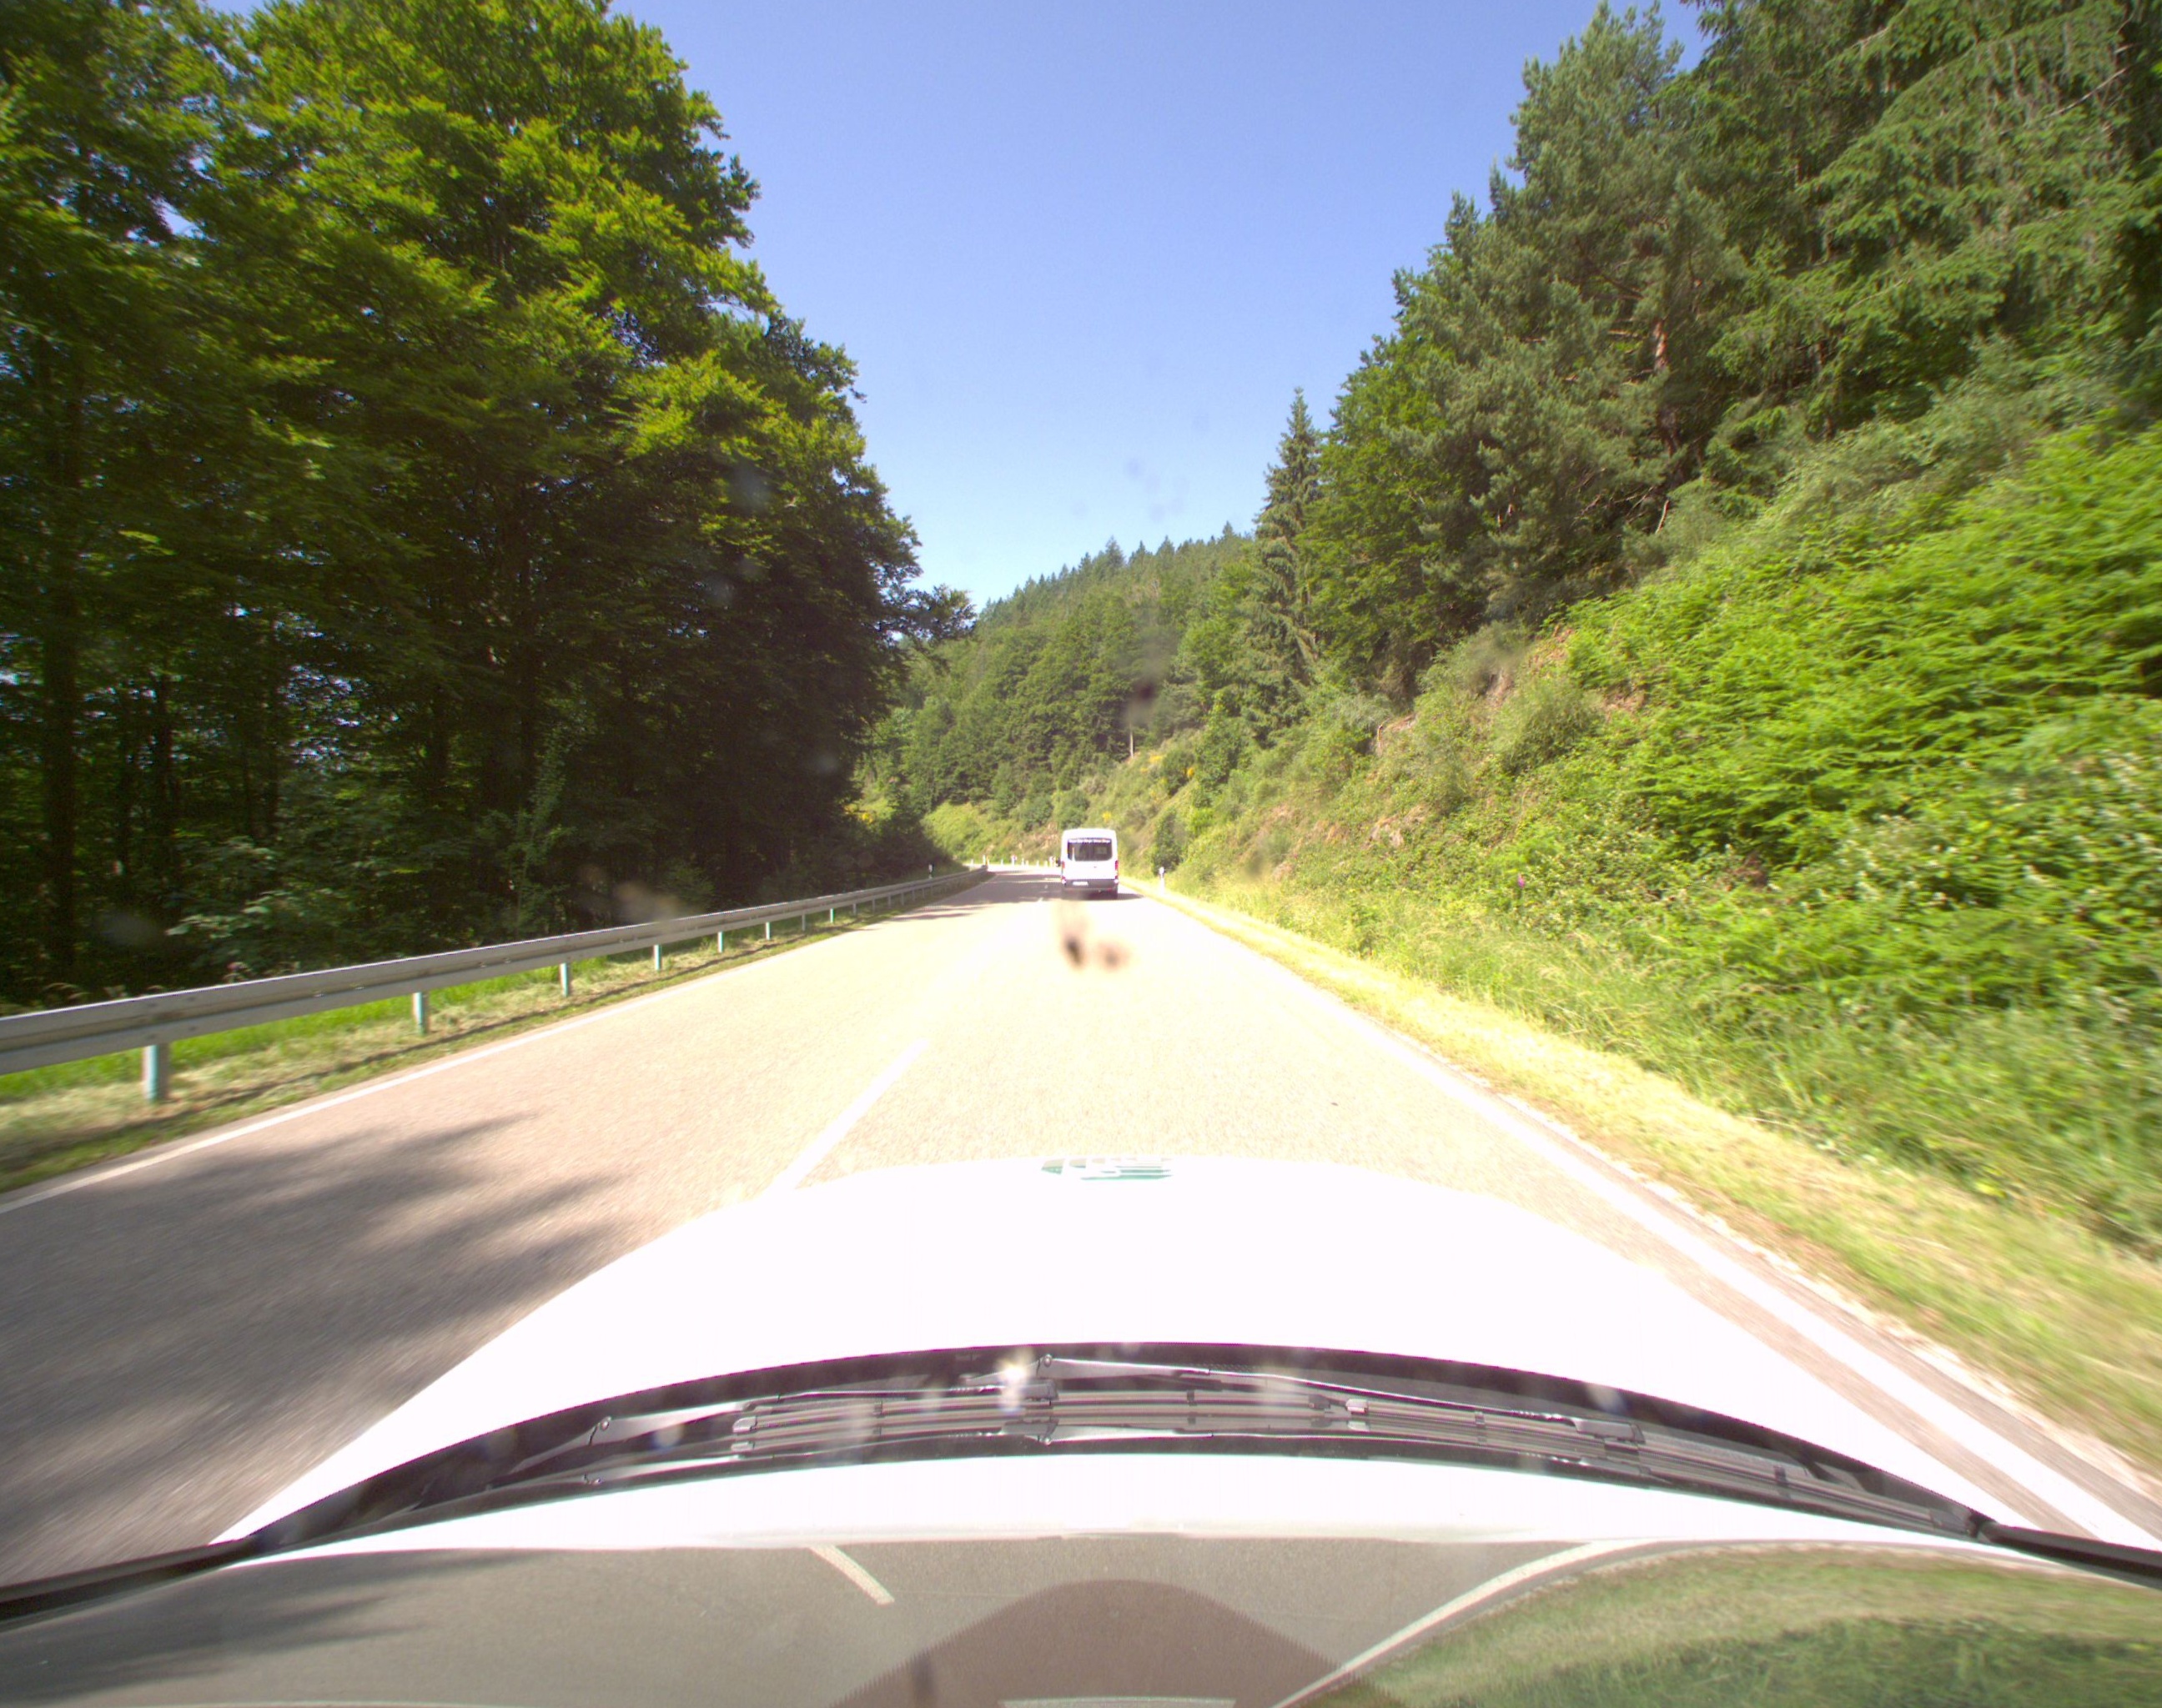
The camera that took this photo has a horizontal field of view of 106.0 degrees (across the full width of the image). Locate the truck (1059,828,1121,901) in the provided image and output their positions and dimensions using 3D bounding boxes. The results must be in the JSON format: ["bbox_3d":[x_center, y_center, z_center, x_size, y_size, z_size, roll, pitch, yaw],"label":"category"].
[{"bbox_3d":[0.257,0.351,30.081,2.078,2.459,4.872,-1,0,-1],"label":"truck"}]
